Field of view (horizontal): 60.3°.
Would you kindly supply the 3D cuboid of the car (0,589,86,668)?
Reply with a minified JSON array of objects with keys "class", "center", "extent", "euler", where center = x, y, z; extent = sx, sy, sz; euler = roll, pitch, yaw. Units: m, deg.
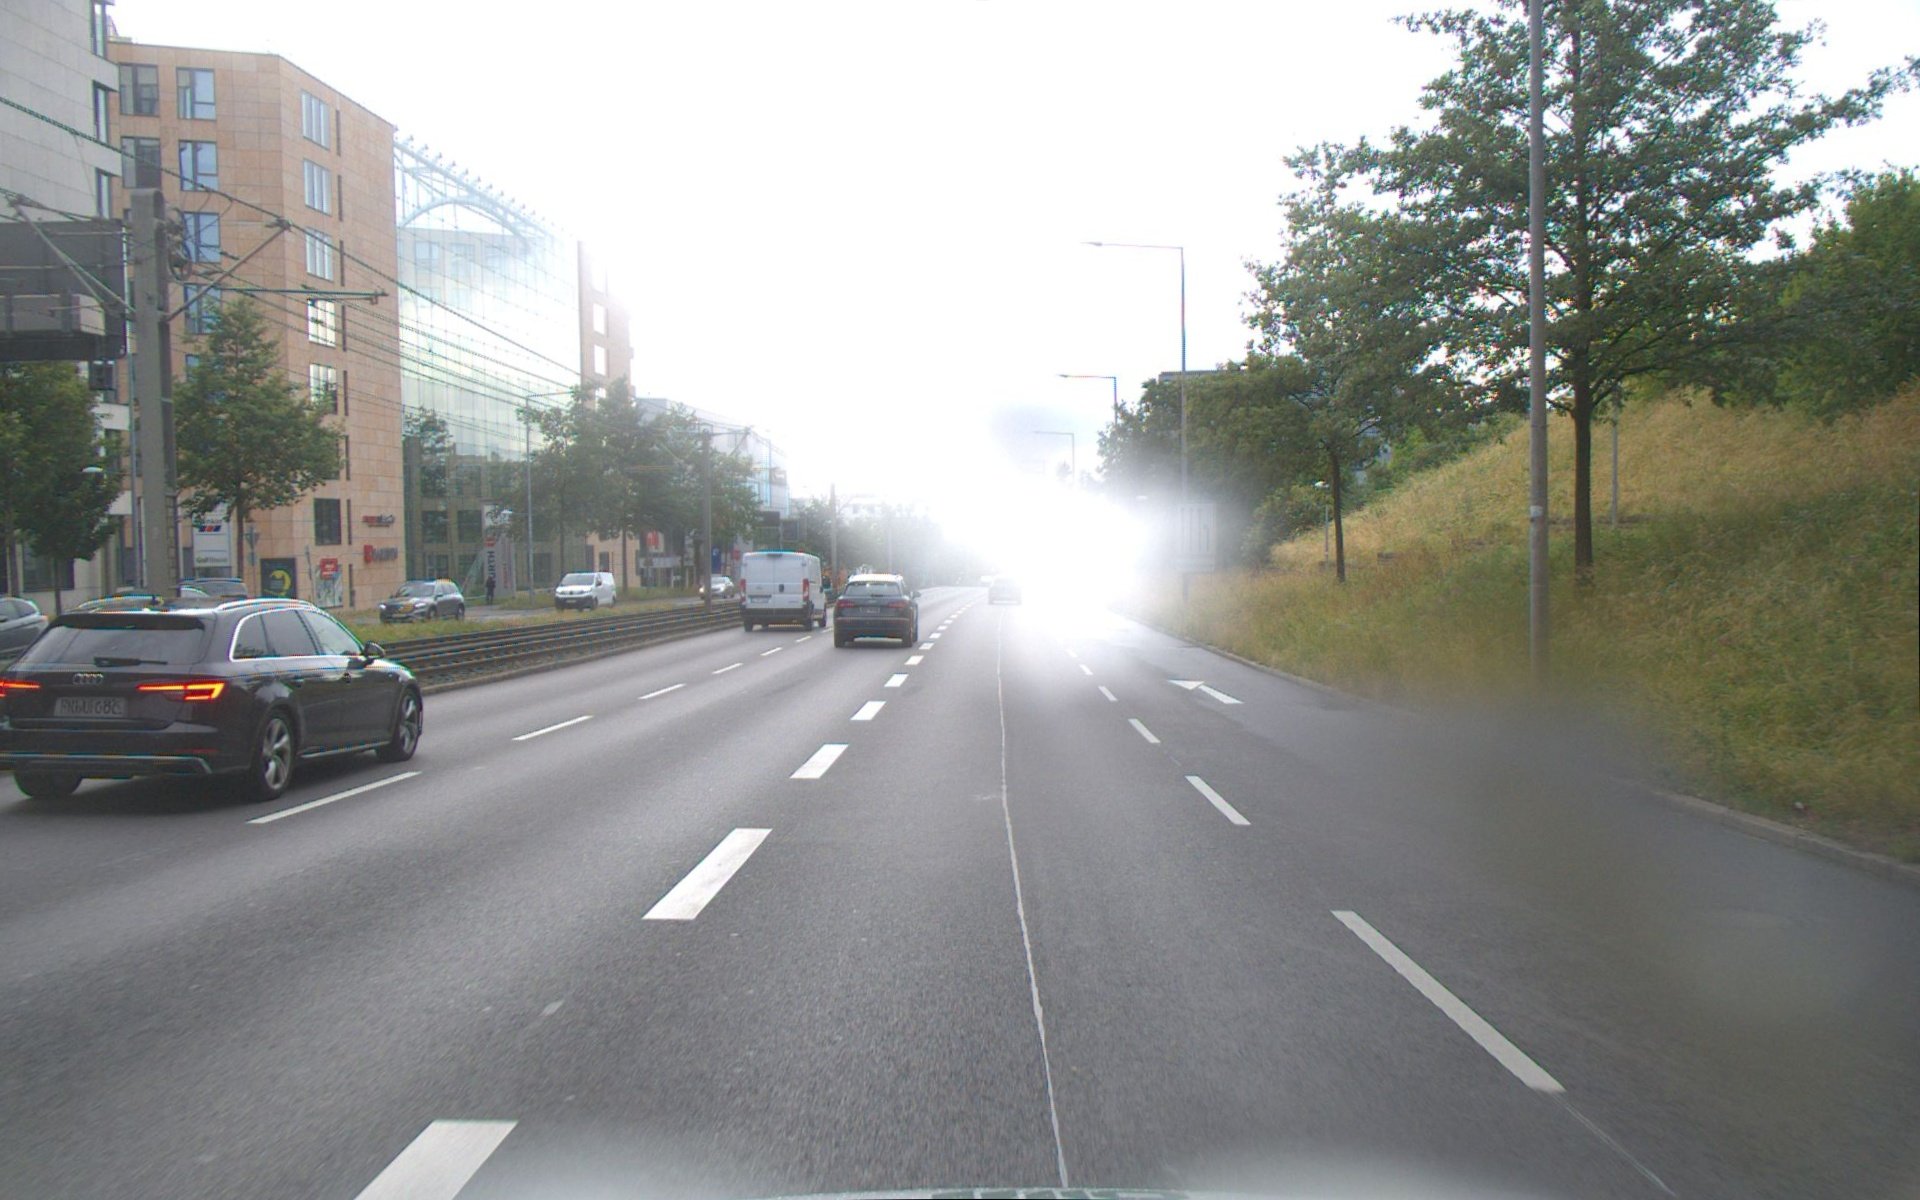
[{"class":"car","center":[-20.608,0.592,35.052],"extent":[1.772,1.560,4.276],"euler":[1,1,2]}]

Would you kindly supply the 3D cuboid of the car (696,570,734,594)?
[{"class":"car","center":[-16.780,-1.246,113.302],"extent":[1.723,1.560,4.819],"euler":[1,1,2]}]

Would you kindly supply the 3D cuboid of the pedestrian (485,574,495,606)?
[{"class":"pedestrian","center":[-27.500,-0.594,96.854],"extent":[0.415,1.859,0.477],"euler":[1,-1,-1]}]

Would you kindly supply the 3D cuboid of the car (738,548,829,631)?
[{"class":"car","center":[-5.195,-0.337,49.302],"extent":[2.221,2.324,4.759],"euler":[1,1,-1]}]

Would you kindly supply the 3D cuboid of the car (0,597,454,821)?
[{"class":"car","center":[-5.661,0.706,13.132],"extent":[1.749,1.438,4.806],"euler":[0,0,1]}]

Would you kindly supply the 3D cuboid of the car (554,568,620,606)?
[{"class":"car","center":[-18.105,-0.661,80.494],"extent":[1.897,1.792,5.064],"euler":[1,1,2]}]

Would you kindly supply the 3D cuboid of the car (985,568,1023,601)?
[{"class":"car","center":[2.284,-0.806,86.164],"extent":[1.753,1.618,3.999],"euler":[-1,0,-1]}]

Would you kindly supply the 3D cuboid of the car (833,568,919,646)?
[{"class":"car","center":[-1.952,0.177,39.400],"extent":[1.883,1.740,4.097],"euler":[1,-1,-1]}]

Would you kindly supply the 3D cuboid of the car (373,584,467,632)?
[{"class":"car","center":[-19.615,0.253,60.283],"extent":[1.772,1.634,4.492],"euler":[1,1,2]}]

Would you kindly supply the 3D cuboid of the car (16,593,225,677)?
[{"class":"car","center":[-17.584,0.682,34.935],"extent":[1.772,1.560,4.871],"euler":[1,1,2]}]
